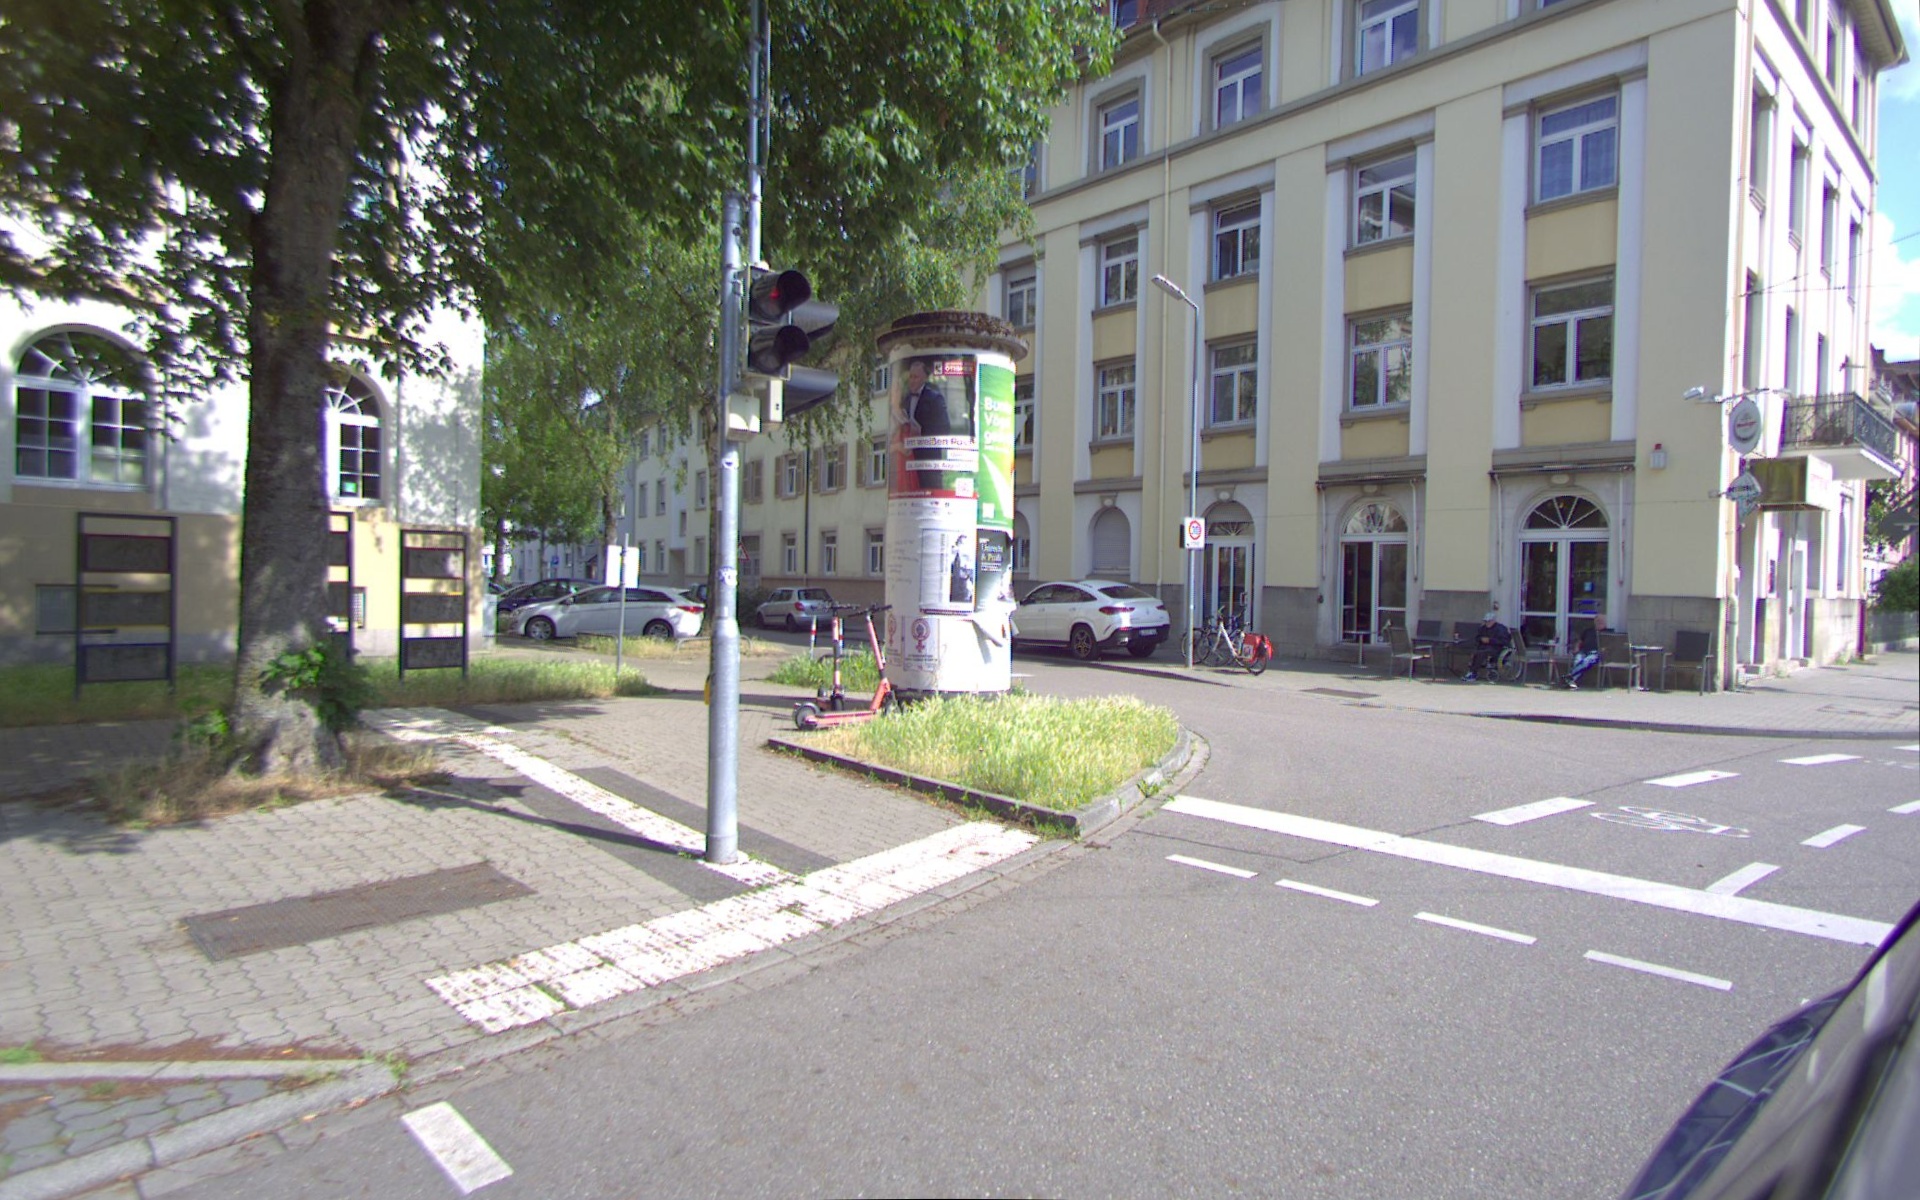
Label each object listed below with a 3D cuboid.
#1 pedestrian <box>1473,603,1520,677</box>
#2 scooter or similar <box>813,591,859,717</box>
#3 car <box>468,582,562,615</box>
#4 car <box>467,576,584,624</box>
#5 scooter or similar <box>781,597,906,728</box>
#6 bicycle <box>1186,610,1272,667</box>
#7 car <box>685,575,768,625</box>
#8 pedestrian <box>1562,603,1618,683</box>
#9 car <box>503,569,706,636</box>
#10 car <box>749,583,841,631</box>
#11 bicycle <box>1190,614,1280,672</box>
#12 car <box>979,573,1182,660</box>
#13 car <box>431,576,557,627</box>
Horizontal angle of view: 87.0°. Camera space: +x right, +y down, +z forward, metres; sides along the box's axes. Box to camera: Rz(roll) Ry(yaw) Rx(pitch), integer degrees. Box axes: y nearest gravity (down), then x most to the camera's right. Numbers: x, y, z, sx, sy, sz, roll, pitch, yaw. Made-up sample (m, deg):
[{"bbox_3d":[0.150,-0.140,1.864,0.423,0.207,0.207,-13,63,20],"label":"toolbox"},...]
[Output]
[{"bbox_3d":[9.719,0.717,18.337,0.650,1.284,0.535,0,2,-43],"label":"pedestrian"},{"bbox_3d":[-1.305,0.535,10.578,0.429,1.246,1.028,1,1,-9],"label":"scooter or similar"},{"bbox_3d":[-16.423,-0.066,37.436,2.935,1.143,1.286,1,1,-10],"label":"car"},{"bbox_3d":[-14.205,-0.026,33.199,3.201,1.474,1.595,1,1,-5],"label":"car"},{"bbox_3d":[-1.114,0.579,9.714,1.138,1.204,0.307,1,1,-23],"label":"scooter or similar"},{"bbox_3d":[5.367,0.749,20.258,0.574,0.980,1.652,-2,4,-38],"label":"bicycle"},{"bbox_3d":[-8.796,-0.010,37.964,1.704,1.760,3.649,2,0,-35],"label":"car"},{"bbox_3d":[11.029,0.730,17.700,1.282,1.284,0.535,-2,2,-43],"label":"pedestrian"},{"bbox_3d":[-8.572,0.054,24.742,4.450,1.504,1.625,1,1,-9],"label":"car"},{"bbox_3d":[-5.680,0.208,34.537,1.593,1.477,3.594,-2,3,-37],"label":"car"},{"bbox_3d":[5.276,0.811,19.508,0.574,0.980,1.652,-1,2,-38],"label":"bicycle"},{"bbox_3d":[2.620,0.280,23.145,1.877,1.755,4.774,0,1,-35],"label":"car"},{"bbox_3d":[-14.364,0.029,31.308,3.202,1.474,1.595,1,1,-4],"label":"car"}]
